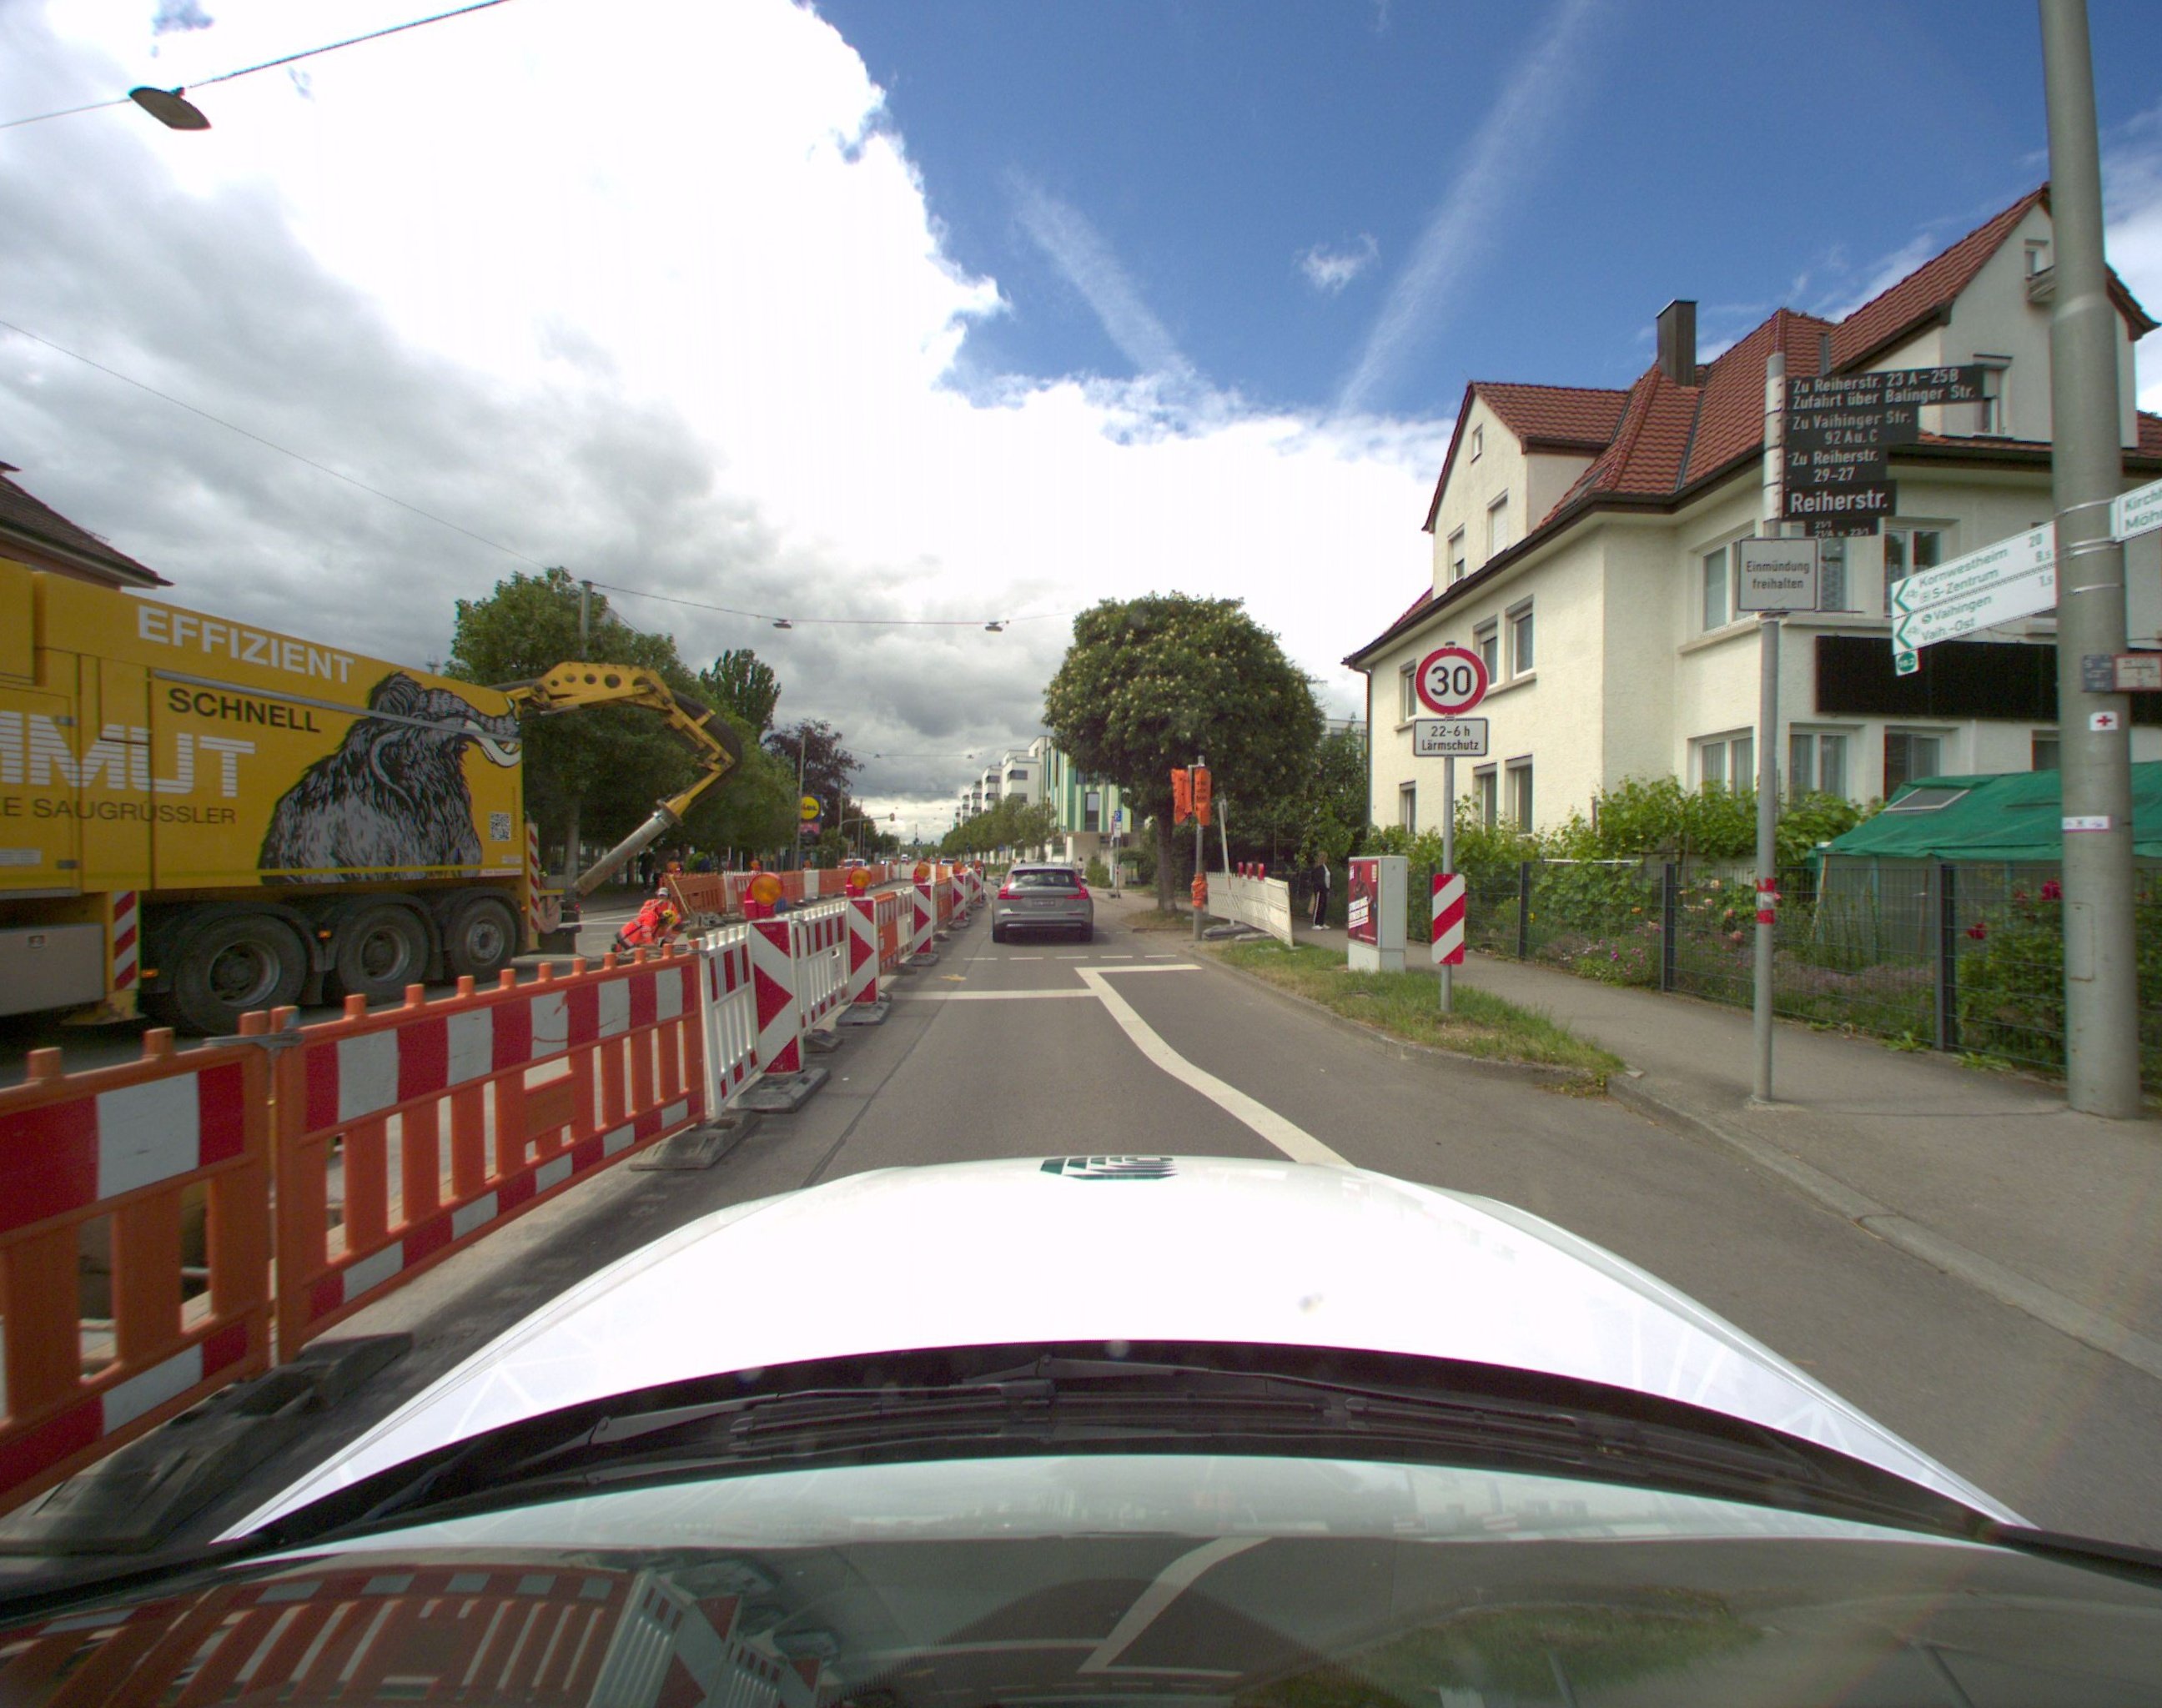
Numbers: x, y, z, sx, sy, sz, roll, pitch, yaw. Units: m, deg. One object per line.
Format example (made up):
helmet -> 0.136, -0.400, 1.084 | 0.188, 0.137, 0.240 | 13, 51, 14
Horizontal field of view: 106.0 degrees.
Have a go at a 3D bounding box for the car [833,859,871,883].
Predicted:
car -> -14.411, 1.053, 51.492 | 1.854, 1.453, 3.986 | 2, -1, -10

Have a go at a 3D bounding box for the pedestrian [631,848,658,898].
pedestrian -> -16.587, 0.709, 30.918 | 0.620, 1.847, 0.625 | 0, -1, 16

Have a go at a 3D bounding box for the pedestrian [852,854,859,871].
pedestrian -> -24.995, 0.948, 90.303 | 0.682, 1.854, 0.888 | 0, -1, -12

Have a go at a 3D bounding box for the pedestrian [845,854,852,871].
pedestrian -> -25.724, 0.944, 90.087 | 0.682, 1.854, 0.704 | 0, -1, -12

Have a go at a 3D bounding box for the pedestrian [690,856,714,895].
pedestrian -> -15.686, 0.894, 33.739 | 0.753, 1.603, 0.826 | 0, -1, -15

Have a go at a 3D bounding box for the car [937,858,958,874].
car -> -13.537, 1.199, 82.295 | 1.846, 1.513, 3.983 | 2, -1, -13

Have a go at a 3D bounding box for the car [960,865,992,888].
car -> -7.485, 1.553, 57.569 | 1.856, 1.513, 3.983 | 2, -1, -13

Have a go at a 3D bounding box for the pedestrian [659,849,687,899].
pedestrian -> -15.389, 0.757, 30.716 | 0.689, 1.847, 0.625 | 0, -1, 16

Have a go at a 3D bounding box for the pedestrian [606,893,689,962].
pedestrian -> -6.710, 1.122, 12.633 | 0.784, 0.991, 0.815 | 0, 0, 16

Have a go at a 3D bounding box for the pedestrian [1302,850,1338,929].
pedestrian -> 4.778, 0.700, 16.316 | 0.630, 1.540, 0.523 | 0, -1, 10

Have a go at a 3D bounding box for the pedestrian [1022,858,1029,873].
pedestrian -> -5.967, 1.233, 87.243 | 0.605, 1.655, 0.549 | 0, -1, -13

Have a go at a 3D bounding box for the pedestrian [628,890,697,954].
pedestrian -> -7.000, 1.112, 13.639 | 0.635, 0.991, 0.798 | 0, 0, 26

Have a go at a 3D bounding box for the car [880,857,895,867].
car -> -30.175, 1.193, 127.256 | 1.853, 1.513, 3.989 | 0, 0, -8

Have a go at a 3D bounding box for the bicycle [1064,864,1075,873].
bicycle -> -1.076, 1.369, 76.068 | 1.031, 0.842, 0.303 | 0, -1, -45

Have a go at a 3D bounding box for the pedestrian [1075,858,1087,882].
pedestrian -> -0.003, 1.027, 53.604 | 0.581, 1.551, 0.865 | 0, -1, -12

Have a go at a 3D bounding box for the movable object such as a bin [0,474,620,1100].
movable object such as a bin -> -8.519, -0.446, 6.799 | 2.580, 4.221, 11.128 | 0, 0, 3

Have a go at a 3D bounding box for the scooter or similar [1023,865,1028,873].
scooter or similar -> -5.959, 1.600, 86.796 | 0.422, 0.905, 0.679 | 0, -1, -12

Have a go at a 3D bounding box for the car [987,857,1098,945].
car -> -0.887, 0.826, 16.178 | 1.853, 1.513, 3.989 | 0, 0, -8
